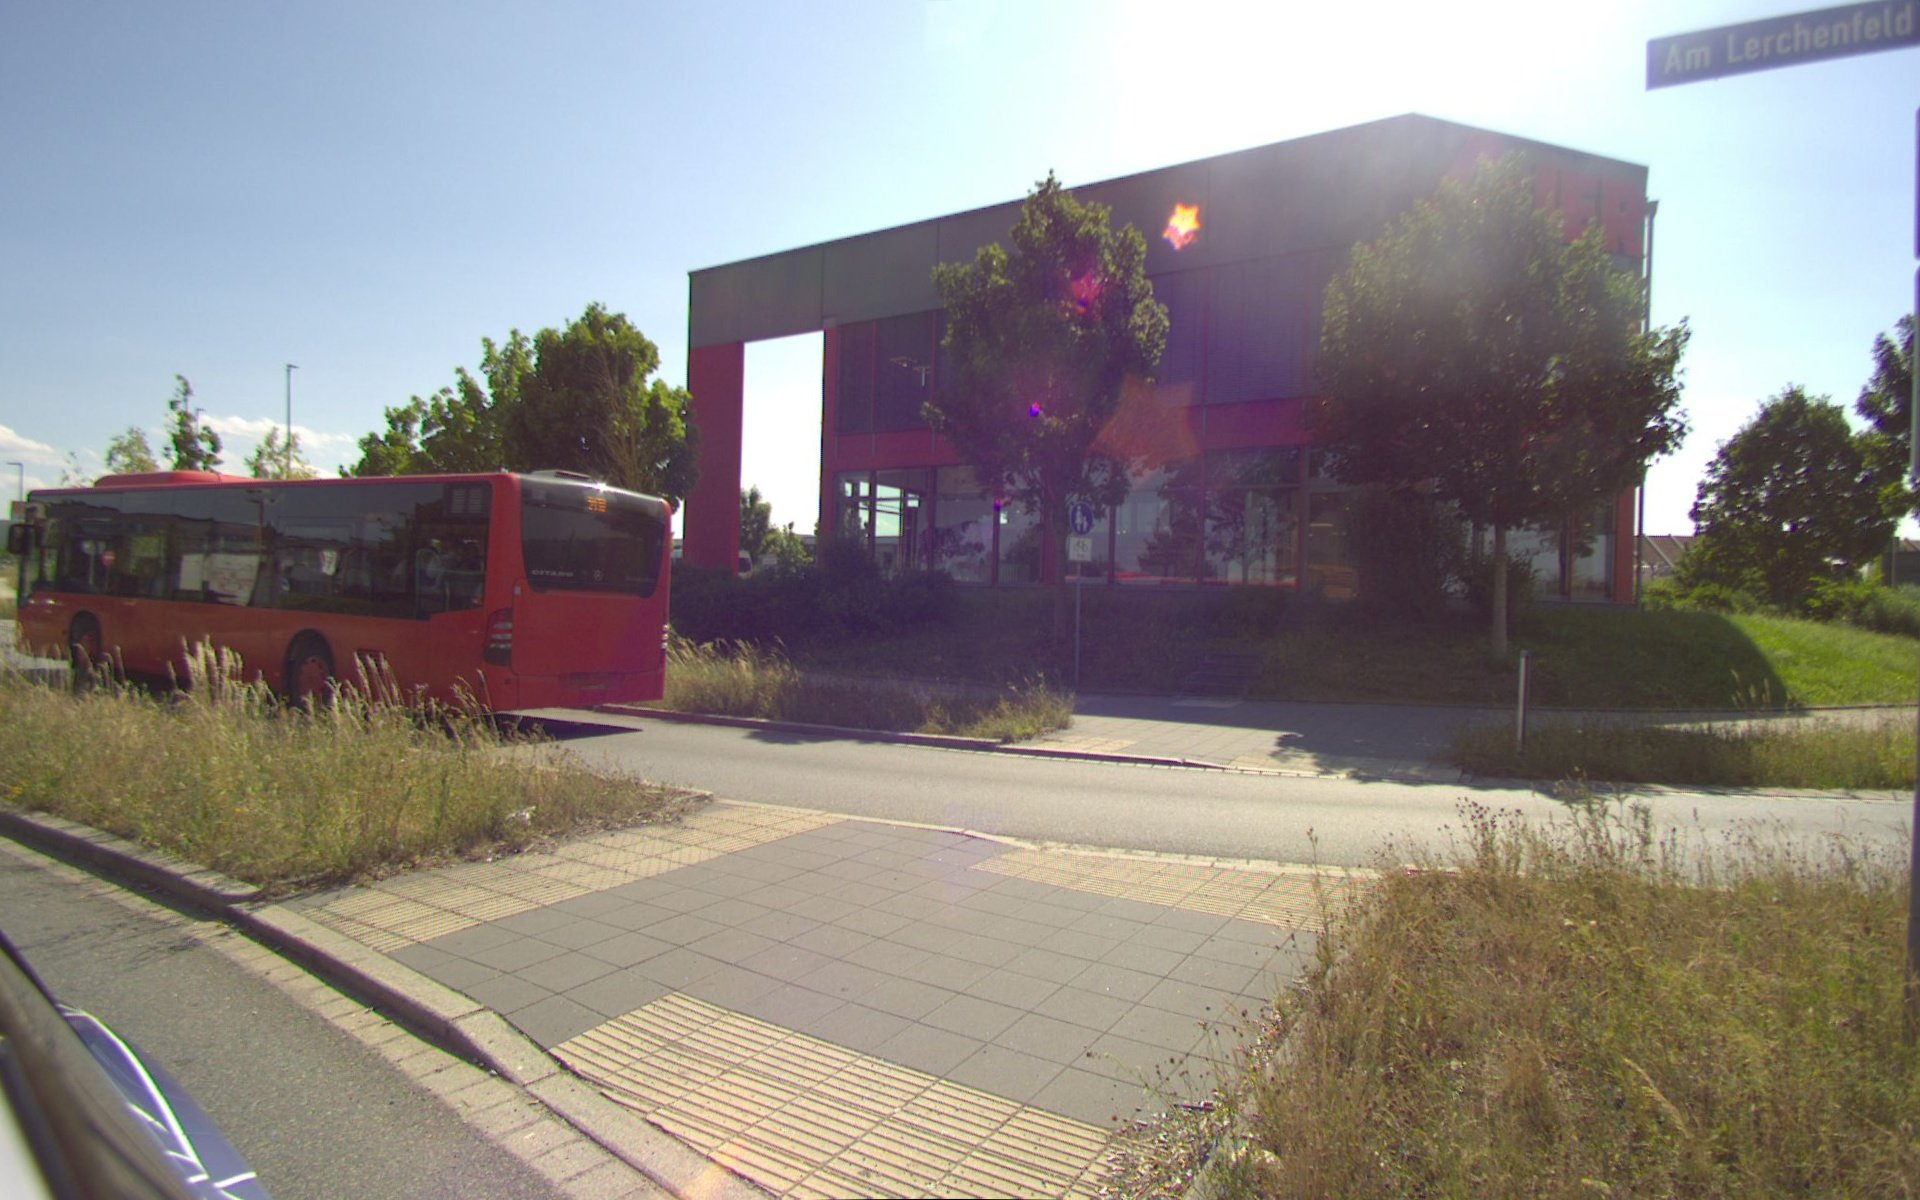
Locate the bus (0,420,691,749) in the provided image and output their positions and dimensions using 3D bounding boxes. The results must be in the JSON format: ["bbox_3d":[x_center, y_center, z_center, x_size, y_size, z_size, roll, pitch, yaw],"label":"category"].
[{"bbox_3d":[-9.116,-0.244,14.006,11.827,3.266,2.592,1,-1,28],"label":"bus"}]
